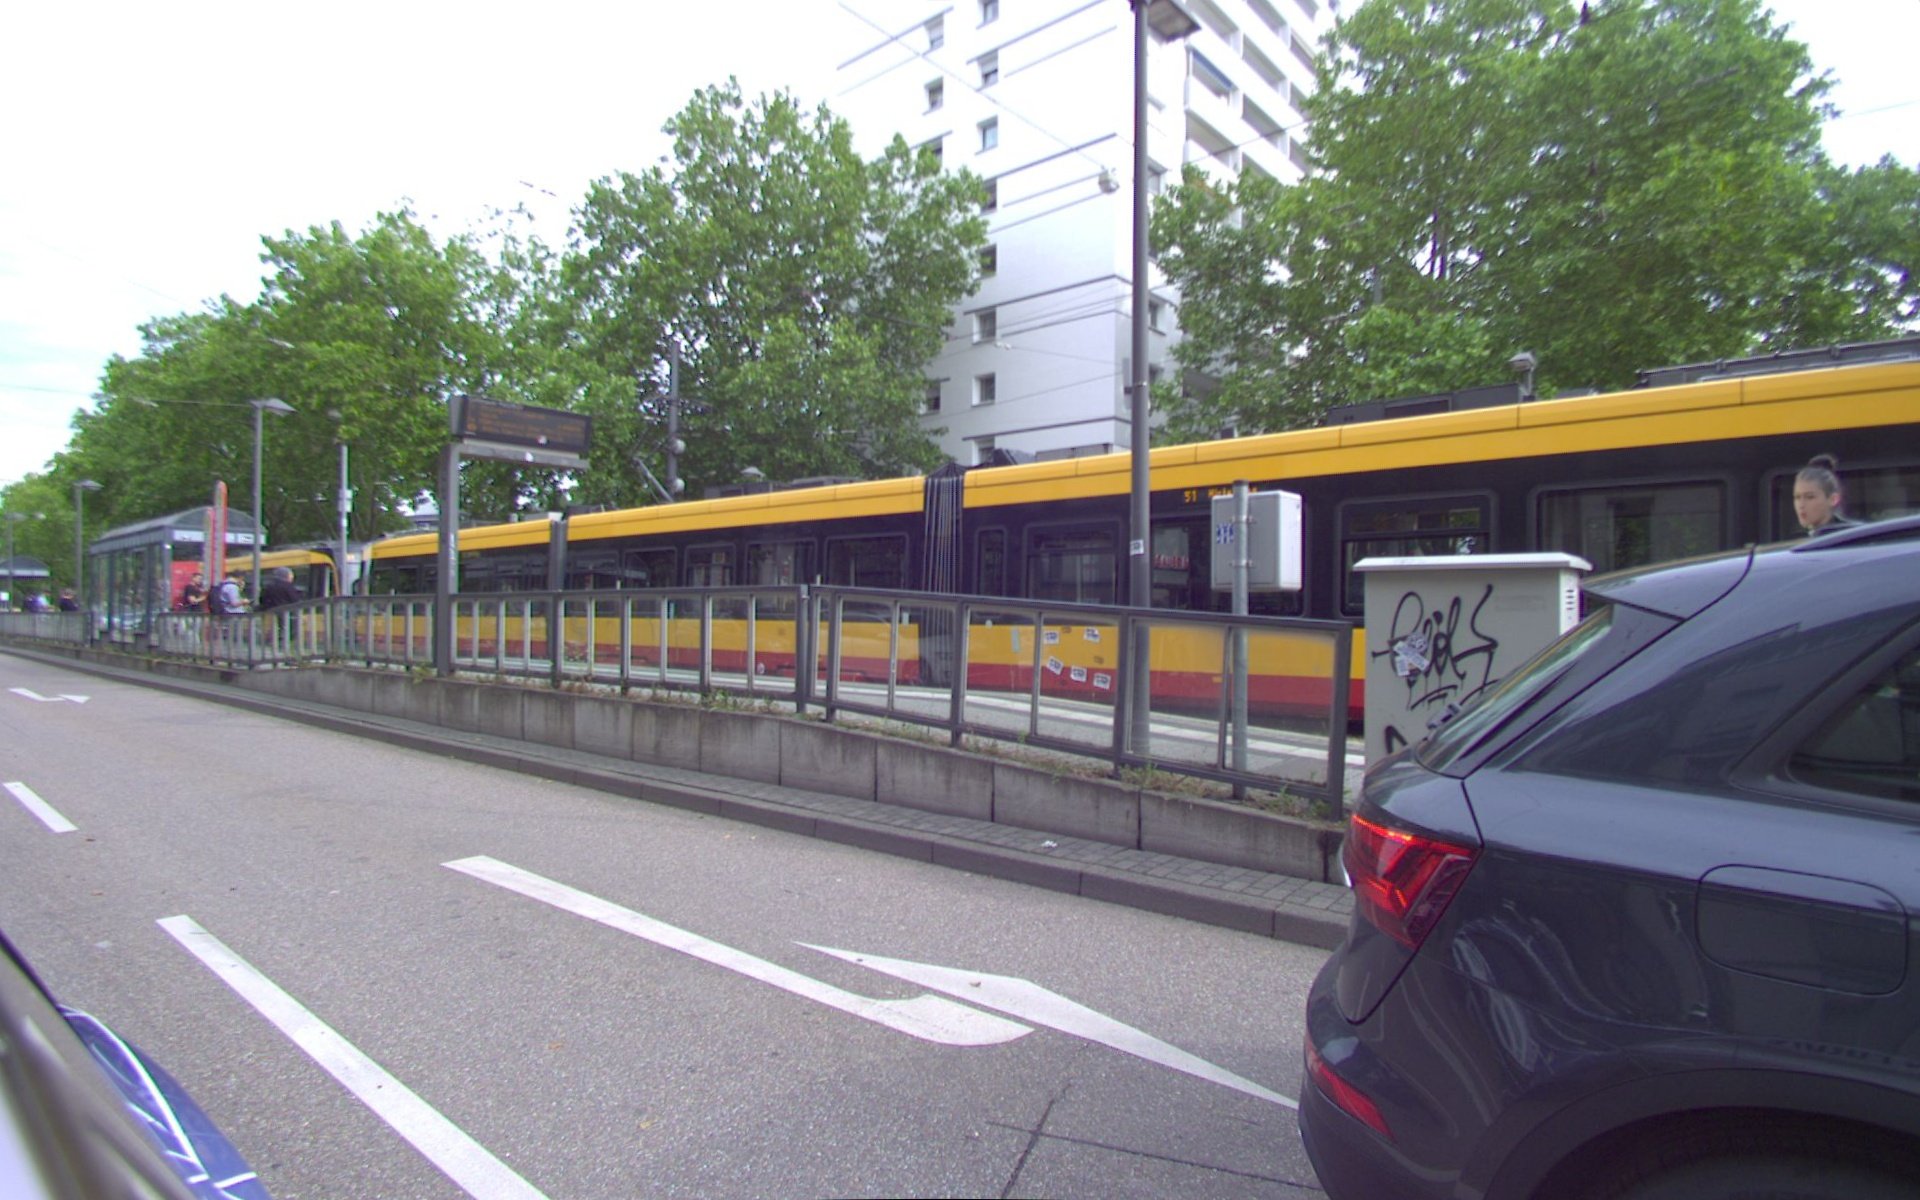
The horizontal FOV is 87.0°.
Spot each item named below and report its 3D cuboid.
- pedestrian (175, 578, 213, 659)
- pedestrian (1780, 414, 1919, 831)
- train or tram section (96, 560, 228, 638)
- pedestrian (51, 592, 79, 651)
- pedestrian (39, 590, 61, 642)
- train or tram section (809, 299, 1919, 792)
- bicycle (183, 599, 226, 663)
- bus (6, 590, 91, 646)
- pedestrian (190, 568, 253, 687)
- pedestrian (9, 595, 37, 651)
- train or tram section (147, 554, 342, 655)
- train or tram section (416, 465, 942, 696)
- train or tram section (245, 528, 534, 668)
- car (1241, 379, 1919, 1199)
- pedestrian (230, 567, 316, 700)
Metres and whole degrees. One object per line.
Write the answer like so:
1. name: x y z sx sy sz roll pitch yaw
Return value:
1. pedestrian: -15.981 0.379 21.109 0.471 1.645 0.526 -1 0 39
2. pedestrian: 4.049 0.088 4.393 0.730 1.674 0.746 -1 0 41
3. train or tram section: -40.817 -0.019 51.526 12.534 3.588 3.060 0 0 41
4. pedestrian: -25.516 0.602 28.855 0.730 1.645 0.506 -1 0 42
5. pedestrian: -29.008 0.504 32.253 0.392 1.645 0.474 -1 0 42
6. train or tram section: 4.618 -0.387 11.552 15.841 3.615 3.028 0 0 41
7. bicycle: -15.095 0.600 20.213 1.289 1.231 0.414 -1 0 41
8. bus: -35.096 0.650 38.950 3.998 2.029 1.973 0 0 41
9. pedestrian: -12.949 0.462 17.767 0.742 2.029 0.821 -1 0 -26
10. pedestrian: -34.590 0.839 37.376 0.587 2.029 0.668 -1 0 38
11. train or tram section: -30.207 0.198 42.152 15.764 3.558 3.028 0 0 41
12. train or tram section: -7.056 -0.271 21.806 15.287 3.558 3.028 0 0 41
13. train or tram section: -18.546 -0.023 31.916 15.287 3.558 3.028 0 0 41
14. car: 2.734 0.539 1.034 4.354 1.613 1.861 -1 0 40
15. pedestrian: -10.772 0.516 15.893 0.808 2.029 0.754 -1 0 4
